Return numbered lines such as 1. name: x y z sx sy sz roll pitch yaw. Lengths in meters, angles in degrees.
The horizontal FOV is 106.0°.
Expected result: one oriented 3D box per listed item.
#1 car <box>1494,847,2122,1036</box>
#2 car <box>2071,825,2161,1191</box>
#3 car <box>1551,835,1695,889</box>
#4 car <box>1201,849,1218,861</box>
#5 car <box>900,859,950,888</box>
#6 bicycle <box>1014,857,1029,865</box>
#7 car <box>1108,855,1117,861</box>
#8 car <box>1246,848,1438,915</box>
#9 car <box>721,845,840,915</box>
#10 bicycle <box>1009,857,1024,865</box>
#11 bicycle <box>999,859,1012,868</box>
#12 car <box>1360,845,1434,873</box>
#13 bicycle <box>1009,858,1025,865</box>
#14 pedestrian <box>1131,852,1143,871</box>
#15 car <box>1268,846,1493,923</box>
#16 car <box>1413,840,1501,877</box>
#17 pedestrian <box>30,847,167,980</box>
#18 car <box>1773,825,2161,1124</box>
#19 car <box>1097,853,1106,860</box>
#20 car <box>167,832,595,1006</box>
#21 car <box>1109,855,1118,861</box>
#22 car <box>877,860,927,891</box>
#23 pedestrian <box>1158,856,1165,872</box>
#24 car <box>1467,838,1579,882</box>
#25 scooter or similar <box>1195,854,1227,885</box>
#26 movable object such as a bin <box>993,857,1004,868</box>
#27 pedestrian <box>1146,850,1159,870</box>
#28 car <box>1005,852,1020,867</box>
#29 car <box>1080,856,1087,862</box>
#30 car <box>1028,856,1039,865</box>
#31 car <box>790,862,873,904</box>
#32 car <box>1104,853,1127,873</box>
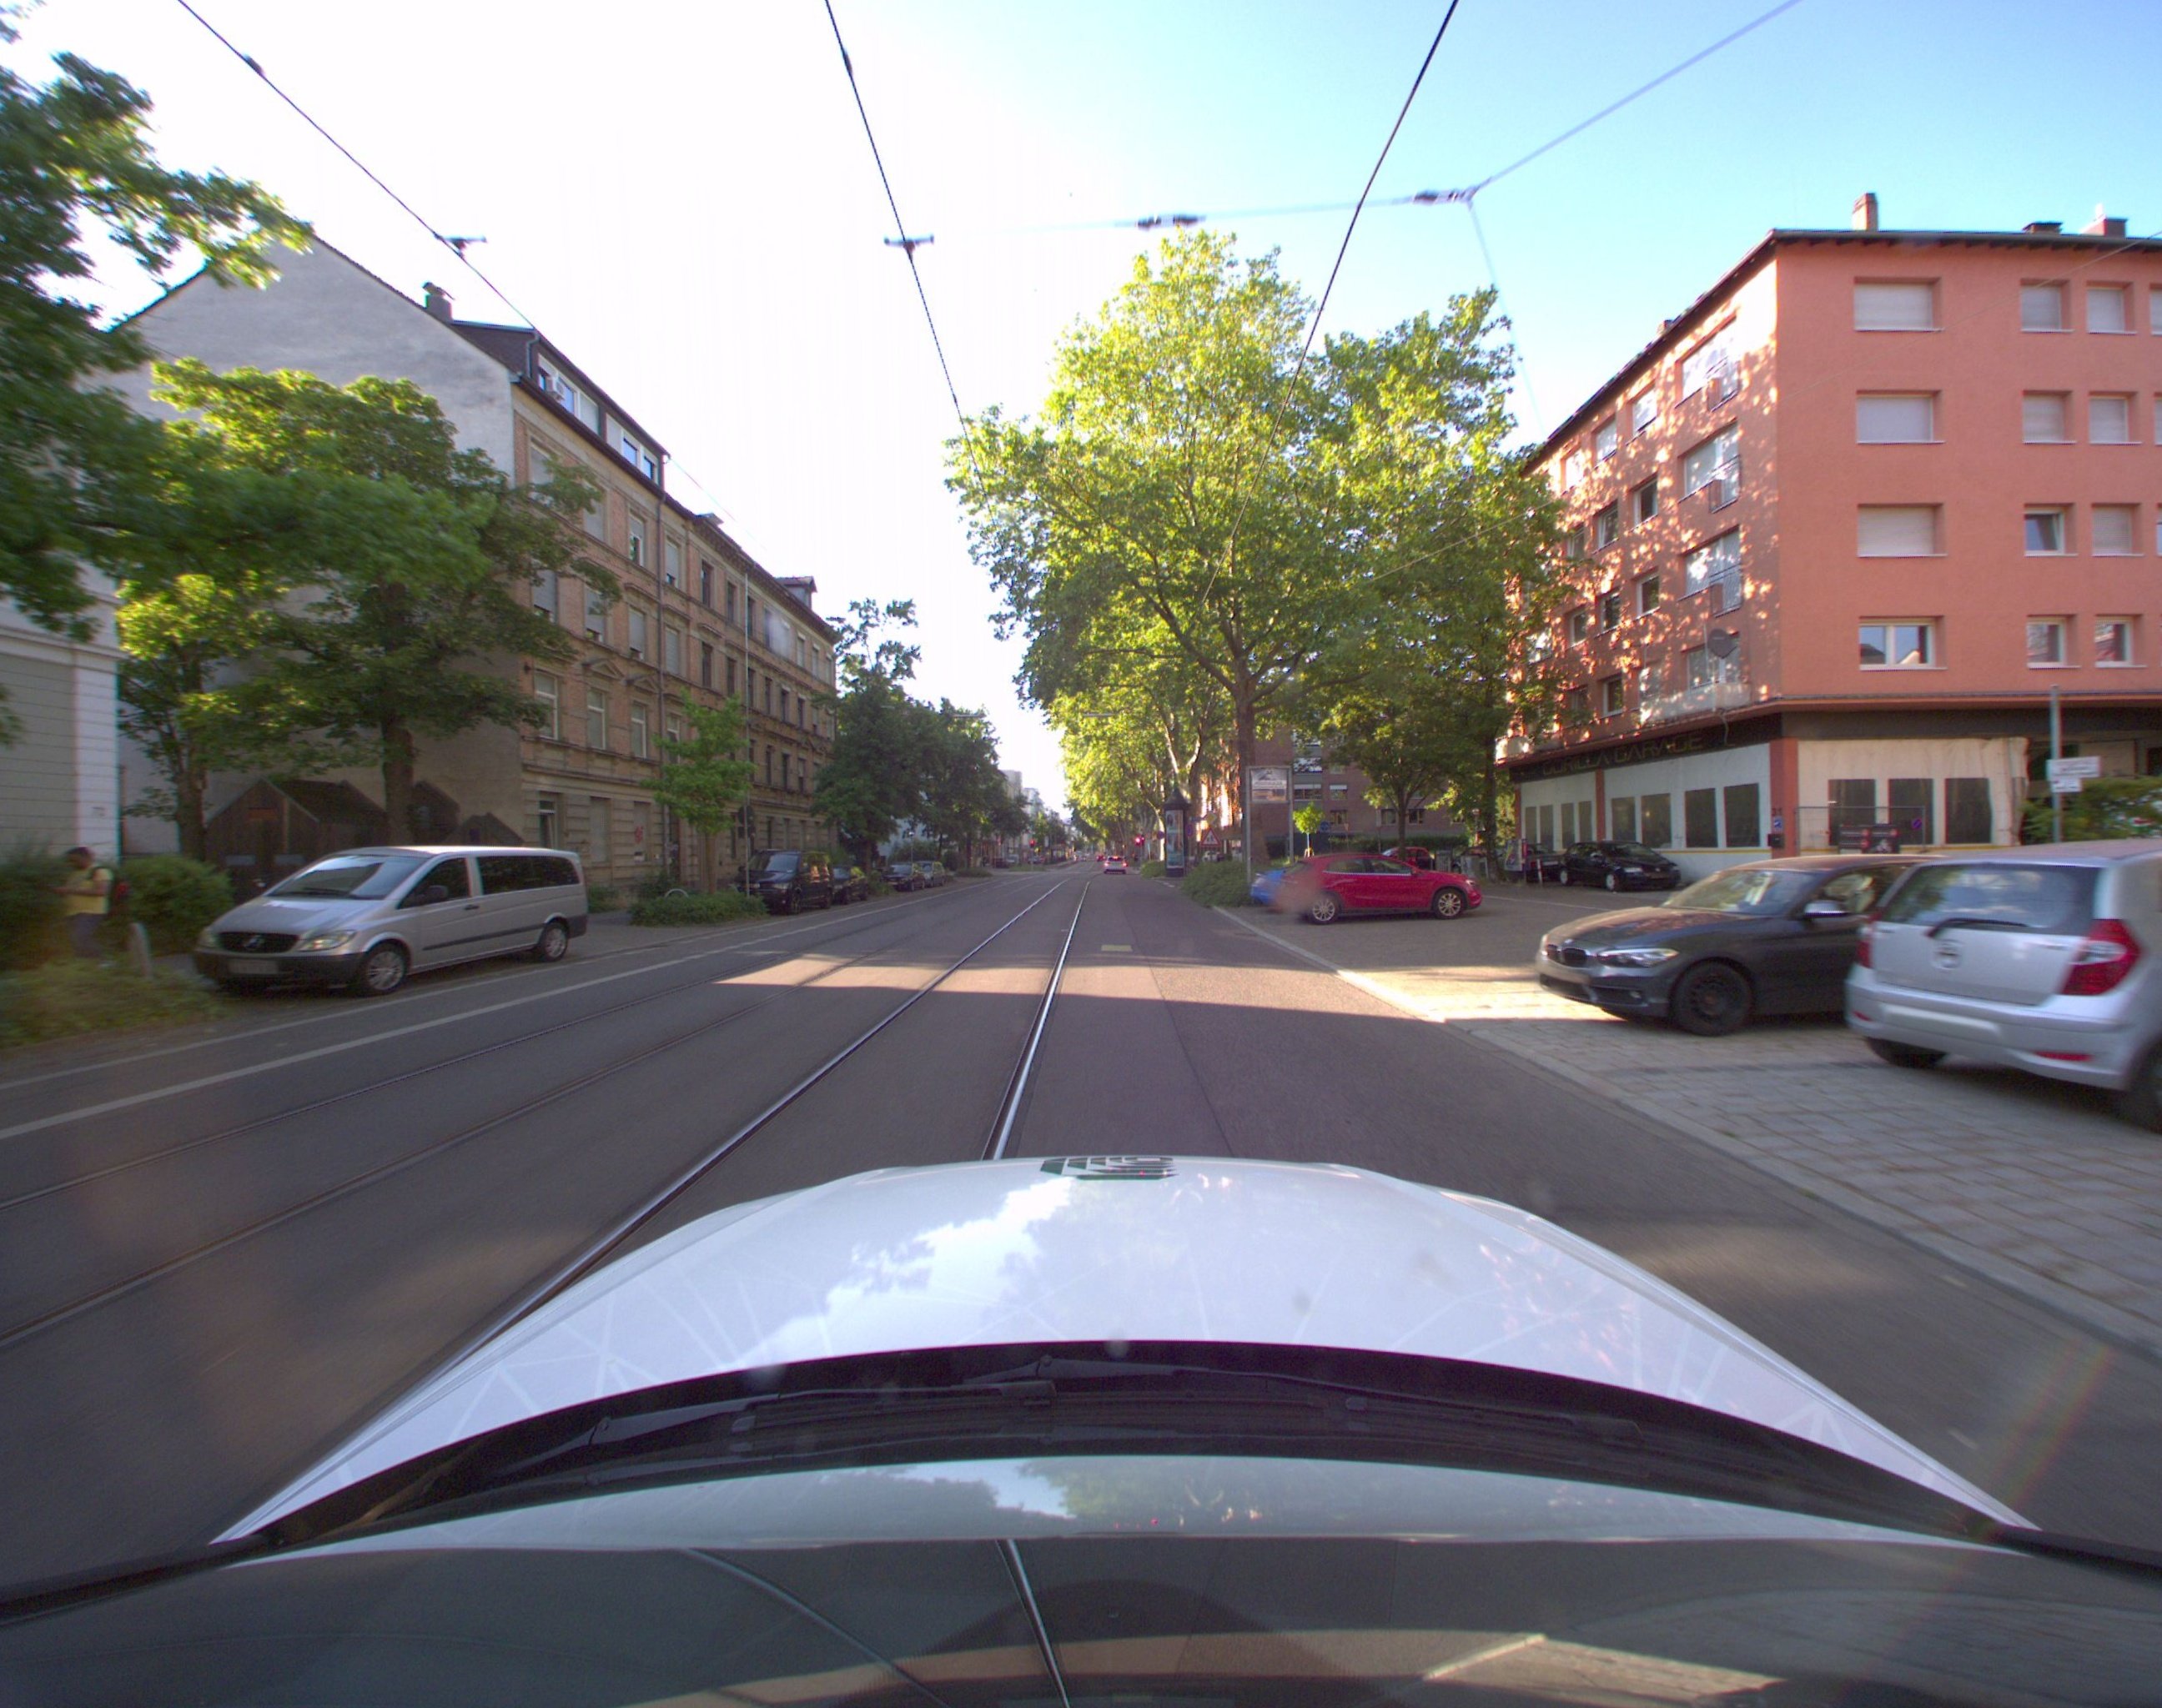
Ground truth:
1. car: 6.388 0.710 7.549 4.185 1.448 1.818 -1 0 0
2. car: 6.677 0.618 2.802 4.182 1.574 1.819 -1 0 3
3. car: 16.121 0.217 24.485 1.742 1.435 3.951 -2 0 1
4. car: 15.740 0.122 99.873 1.595 1.495 3.416 -1 0 0
5. car: -8.973 1.064 47.195 1.692 1.550 4.541 0 0 4
6. bicycle: -9.302 1.121 127.020 2.244 1.074 0.636 2 0 2
7. car: 7.621 1.019 198.262 1.986 1.453 4.001 -1 0 1
8. car: 6.481 0.668 20.687 4.379 1.543 1.822 -1 0 8
9. car: -9.519 0.762 26.252 1.987 2.013 4.834 -1 0 0
10. bicycle: -9.605 1.073 121.480 2.244 1.074 0.636 2 0 2
11. bicycle: -9.352 1.170 100.946 1.529 1.075 0.885 2 0 0
12. car: 18.000 0.259 46.477 3.527 1.452 1.683 -2 0 -1
13. bicycle: -9.371 1.101 119.745 2.244 1.074 0.636 2 0 2
14. pedestrian: 5.501 0.712 80.233 0.992 1.811 0.863 -2 0 -5
15. car: 6.618 0.657 18.401 4.385 1.543 1.953 -1 0 3
16. car: 17.607 0.202 38.399 1.786 1.574 4.571 -2 0 -4
17. pedestrian: -12.755 0.737 10.605 0.602 1.662 0.948 0 0 2
18. car: 7.233 0.592 5.092 4.182 1.555 1.819 -1 0 3
19. car: 4.233 0.508 170.671 1.782 1.513 4.001 -1 0 1
20. car: -9.671 0.758 12.007 1.836 1.989 4.990 -1 0 2
21. car: 7.708 0.998 193.174 1.986 1.453 4.001 -1 0 1
22. car: -9.087 1.068 41.700 1.652 1.445 3.949 0 0 0
23. pedestrian: 8.736 1.084 88.255 0.650 1.669 0.738 -1 0 0
24. car: 16.119 0.200 29.986 1.742 1.435 4.469 -2 0 1
25. scooter or similar: 5.483 0.653 34.345 1.204 1.240 0.569 -2 -1 -1
26. movable object such as a bin: -10.042 1.003 98.880 1.167 1.348 0.782 2 0 -4
27. pedestrian: 6.740 0.552 76.688 0.981 1.863 1.014 -5 0 -5
28. car: -9.393 0.710 112.204 1.682 1.940 4.001 -1 0 1
29. car: 0.614 1.208 196.350 1.688 1.419 4.001 -1 0 1
30. car: -8.491 1.078 145.380 1.587 1.548 4.001 1 0 1
31. car: -9.510 1.063 31.421 1.847 1.458 4.269 -1 0 0
32. car: 2.760 0.732 65.797 1.782 1.513 4.001 -1 0 1
